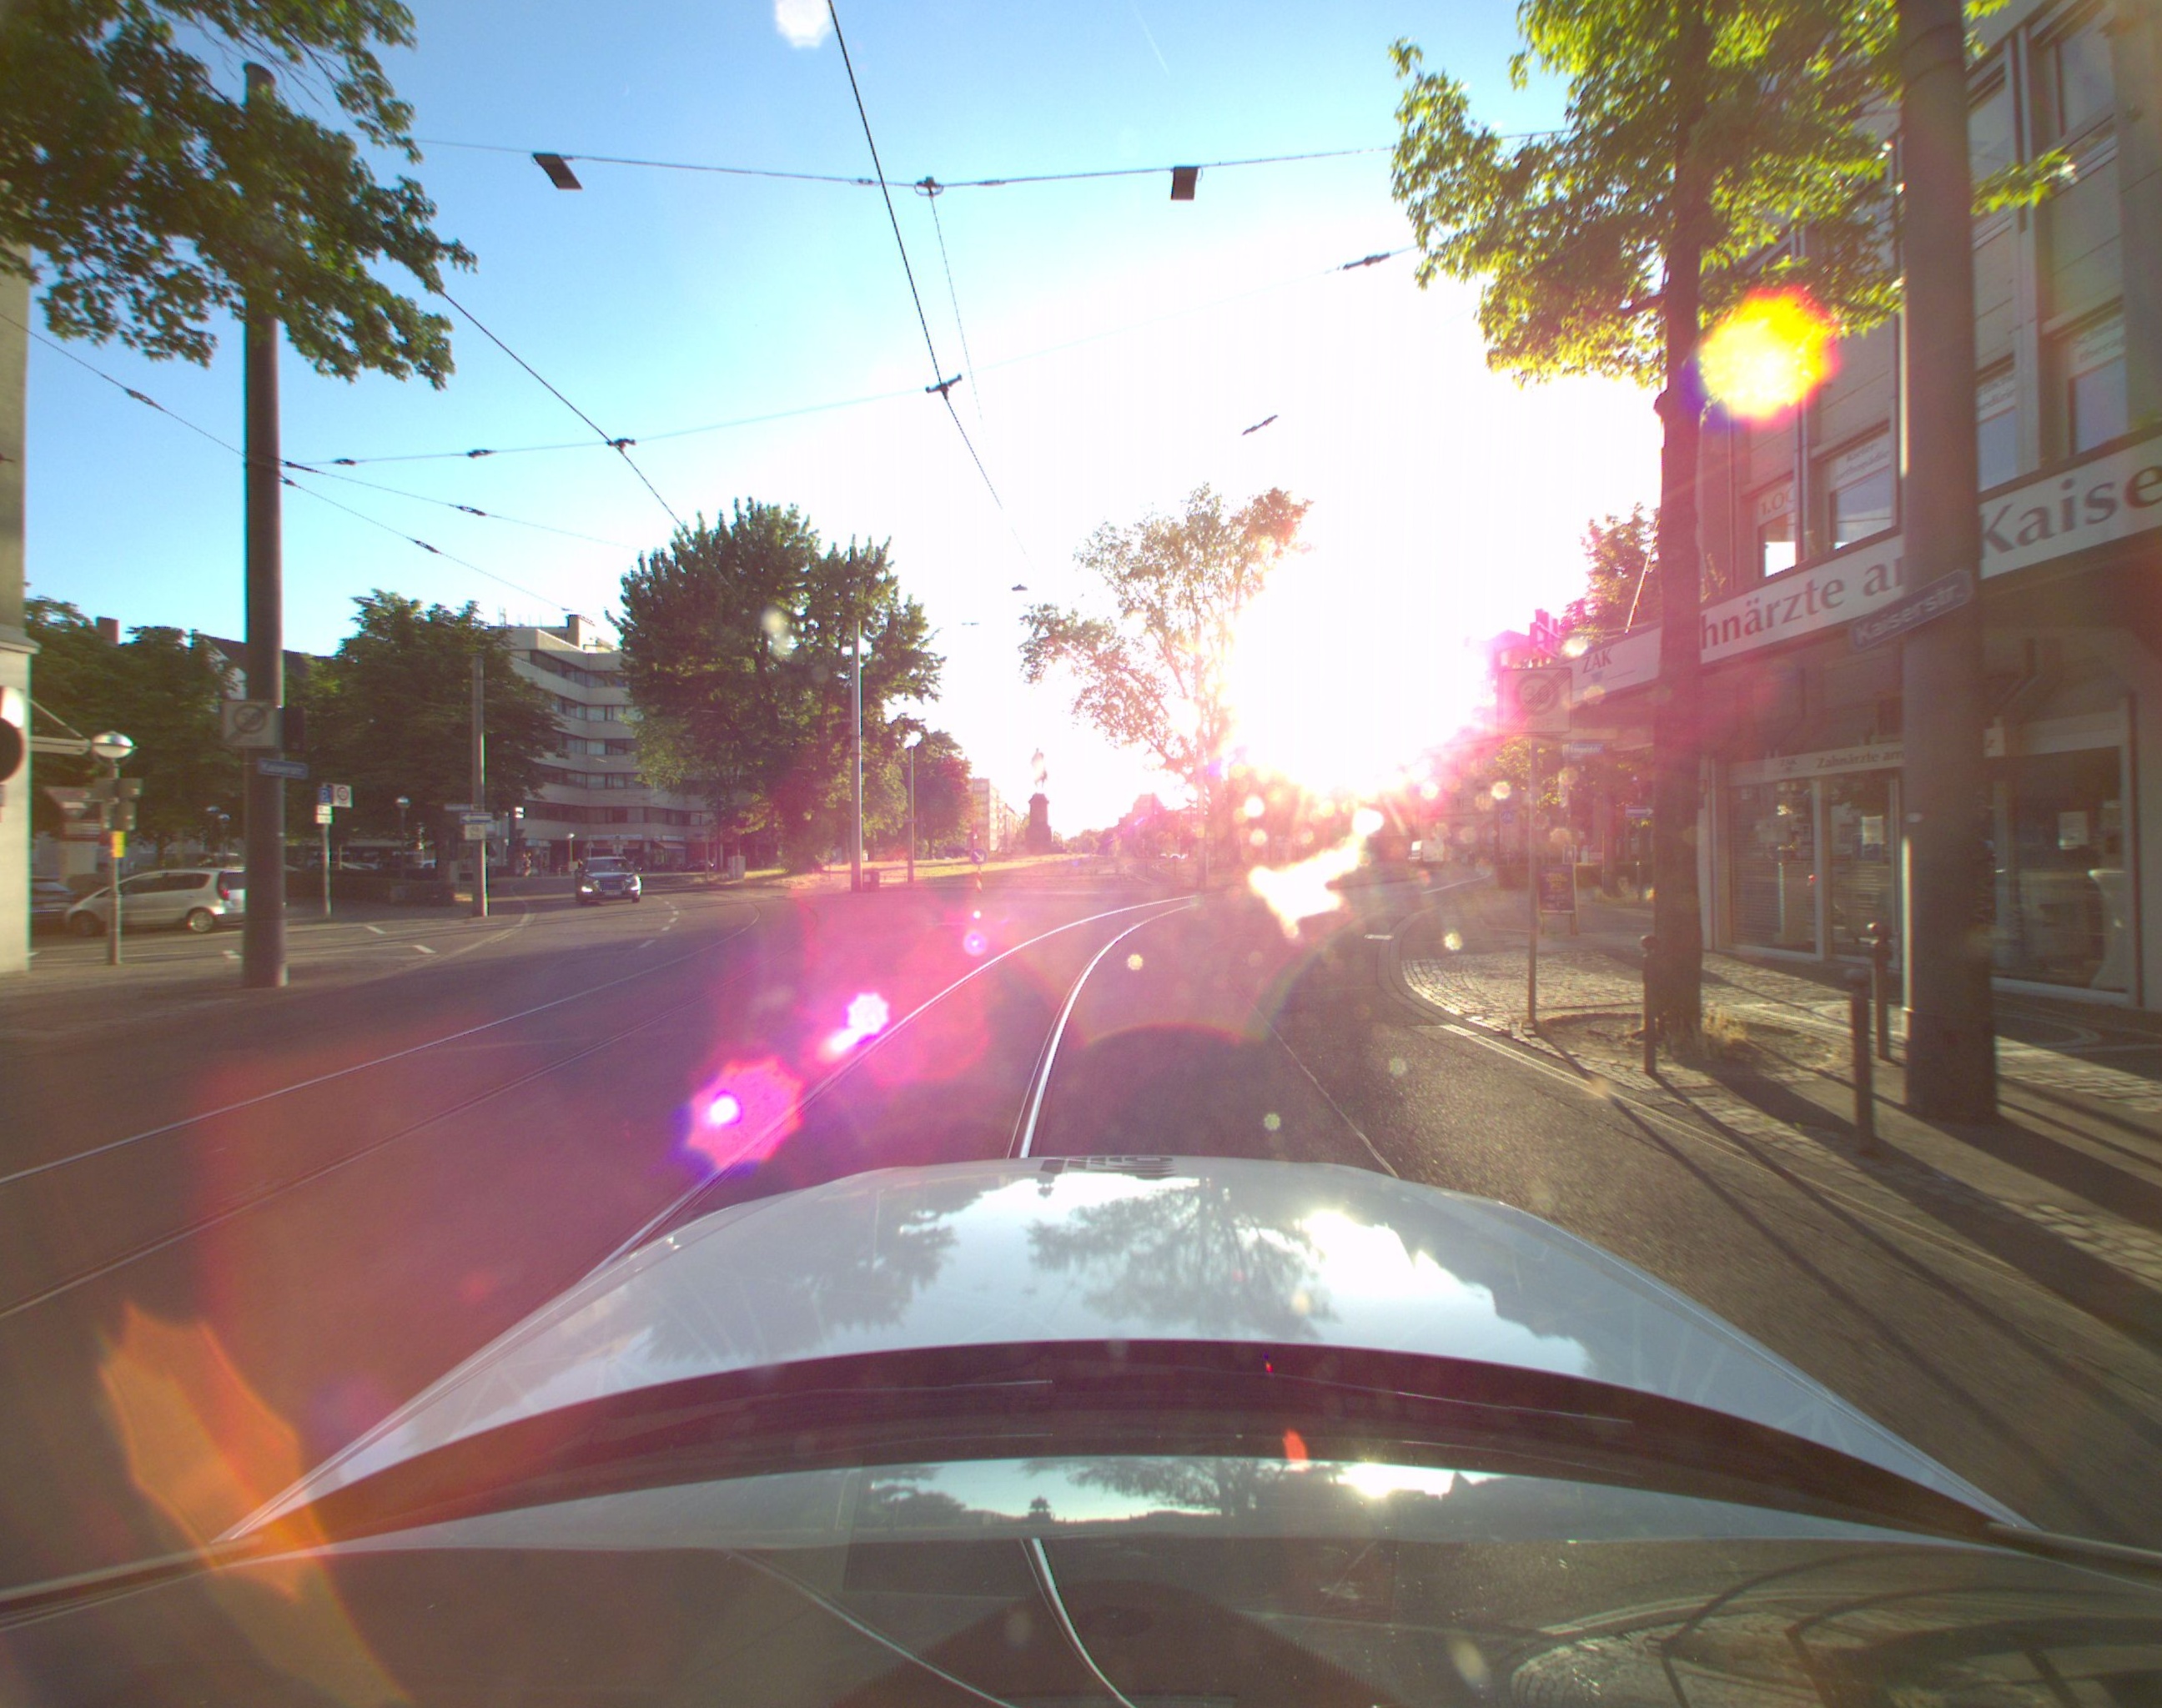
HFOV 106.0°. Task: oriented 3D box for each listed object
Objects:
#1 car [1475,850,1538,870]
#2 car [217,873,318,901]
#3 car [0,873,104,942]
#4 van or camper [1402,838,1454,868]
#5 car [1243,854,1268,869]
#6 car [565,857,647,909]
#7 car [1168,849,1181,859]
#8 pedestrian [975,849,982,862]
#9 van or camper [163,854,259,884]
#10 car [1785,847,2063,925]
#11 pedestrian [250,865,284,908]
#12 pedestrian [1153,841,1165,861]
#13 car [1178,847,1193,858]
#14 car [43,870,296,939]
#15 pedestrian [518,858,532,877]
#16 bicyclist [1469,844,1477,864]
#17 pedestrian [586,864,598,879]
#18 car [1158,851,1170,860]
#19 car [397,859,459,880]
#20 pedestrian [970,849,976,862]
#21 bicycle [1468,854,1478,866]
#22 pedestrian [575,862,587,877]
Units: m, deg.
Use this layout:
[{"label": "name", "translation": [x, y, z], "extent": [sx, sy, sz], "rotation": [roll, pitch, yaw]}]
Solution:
[{"label": "car", "translation": [38.437, 0.544, 73.595], "extent": [4.709, 1.762, 1.831], "rotation": [0, 0, 42]}, {"label": "car", "translation": [-37.287, 1.474, 37.456], "extent": [1.717, 1.118, 3.251], "rotation": [-1, 0, -11]}, {"label": "car", "translation": [-26.496, 1.259, 19.344], "extent": [4.118, 1.515, 1.897], "rotation": [-1, 0, -3]}, {"label": "van or camper", "translation": [30.535, -0.088, 71.857], "extent": [2.593, 2.472, 6.333], "rotation": [-1, 0, 7]}, {"label": "car", "translation": [24.213, 0.983, 113.081], "extent": [1.994, 1.969, 3.985], "rotation": [-1, 0, -11]}, {"label": "car", "translation": [-17.170, 0.972, 29.336], "extent": [1.979, 1.676, 4.309], "rotation": [-1, 0, -38]}, {"label": "car", "translation": [18.892, -0.056, 165.050], "extent": [2.132, 2.013, 3.998], "rotation": [0, 0, -1]}, {"label": "pedestrian", "translation": [-12.950, 0.162, 102.772], "extent": [0.768, 1.606, 0.636], "rotation": [-1, 0, -8]}, {"label": "van or camper", "translation": [-52.326, 0.888, 49.040], "extent": [3.677, 1.640, 1.756], "rotation": [-1, 0, -7]}, {"label": "car", "translation": [16.798, 0.591, 16.362], "extent": [3.847, 1.440, 1.831], "rotation": [0, 1, -3]}, {"label": "pedestrian", "translation": [-27.739, 1.083, 27.752], "extent": [0.762, 1.410, 0.750], "rotation": [-1, 0, 41]}, {"label": "pedestrian", "translation": [6.522, -0.252, 67.971], "extent": [0.776, 1.606, 0.630], "rotation": [-1, 0, -44]}, {"label": "car", "translation": [19.388, -0.241, 150.756], "extent": [2.132, 2.013, 3.998], "rotation": [0, 0, -1]}, {"label": "car", "translation": [-21.840, 1.174, 19.650], "extent": [3.977, 1.515, 1.726], "rotation": [-1, 0, -3]}, {"label": "pedestrian", "translation": [-46.320, 1.125, 67.818], "extent": [0.744, 1.503, 0.767], "rotation": [-1, 0, -17]}, {"label": "bicyclist", "translation": [32.584, -0.002, 67.699], "extent": [0.504, 1.642, 0.779], "rotation": [-1, 0, 20]}, {"label": "pedestrian", "translation": [-50.220, 1.828, 83.623], "extent": [0.736, 1.503, 0.776], "rotation": [-1, 0, 22]}, {"label": "car", "translation": [18.031, 0.319, 177.981], "extent": [2.132, 2.013, 3.998], "rotation": [0, 0, -1]}, {"label": "car", "translation": [-55.852, 1.268, 69.697], "extent": [1.756, 1.704, 3.694], "rotation": [0, 0, 25]}, {"label": "pedestrian", "translation": [-13.682, 0.172, 103.459], "extent": [0.768, 1.606, 0.636], "rotation": [-1, 0, -8]}, {"label": "bicycle", "translation": [32.627, 0.503, 67.733], "extent": [0.504, 0.978, 2.253], "rotation": [-1, 0, 20]}, {"label": "pedestrian", "translation": [-50.695, 1.566, 82.542], "extent": [0.736, 1.503, 0.776], "rotation": [-1, 0, 22]}]
